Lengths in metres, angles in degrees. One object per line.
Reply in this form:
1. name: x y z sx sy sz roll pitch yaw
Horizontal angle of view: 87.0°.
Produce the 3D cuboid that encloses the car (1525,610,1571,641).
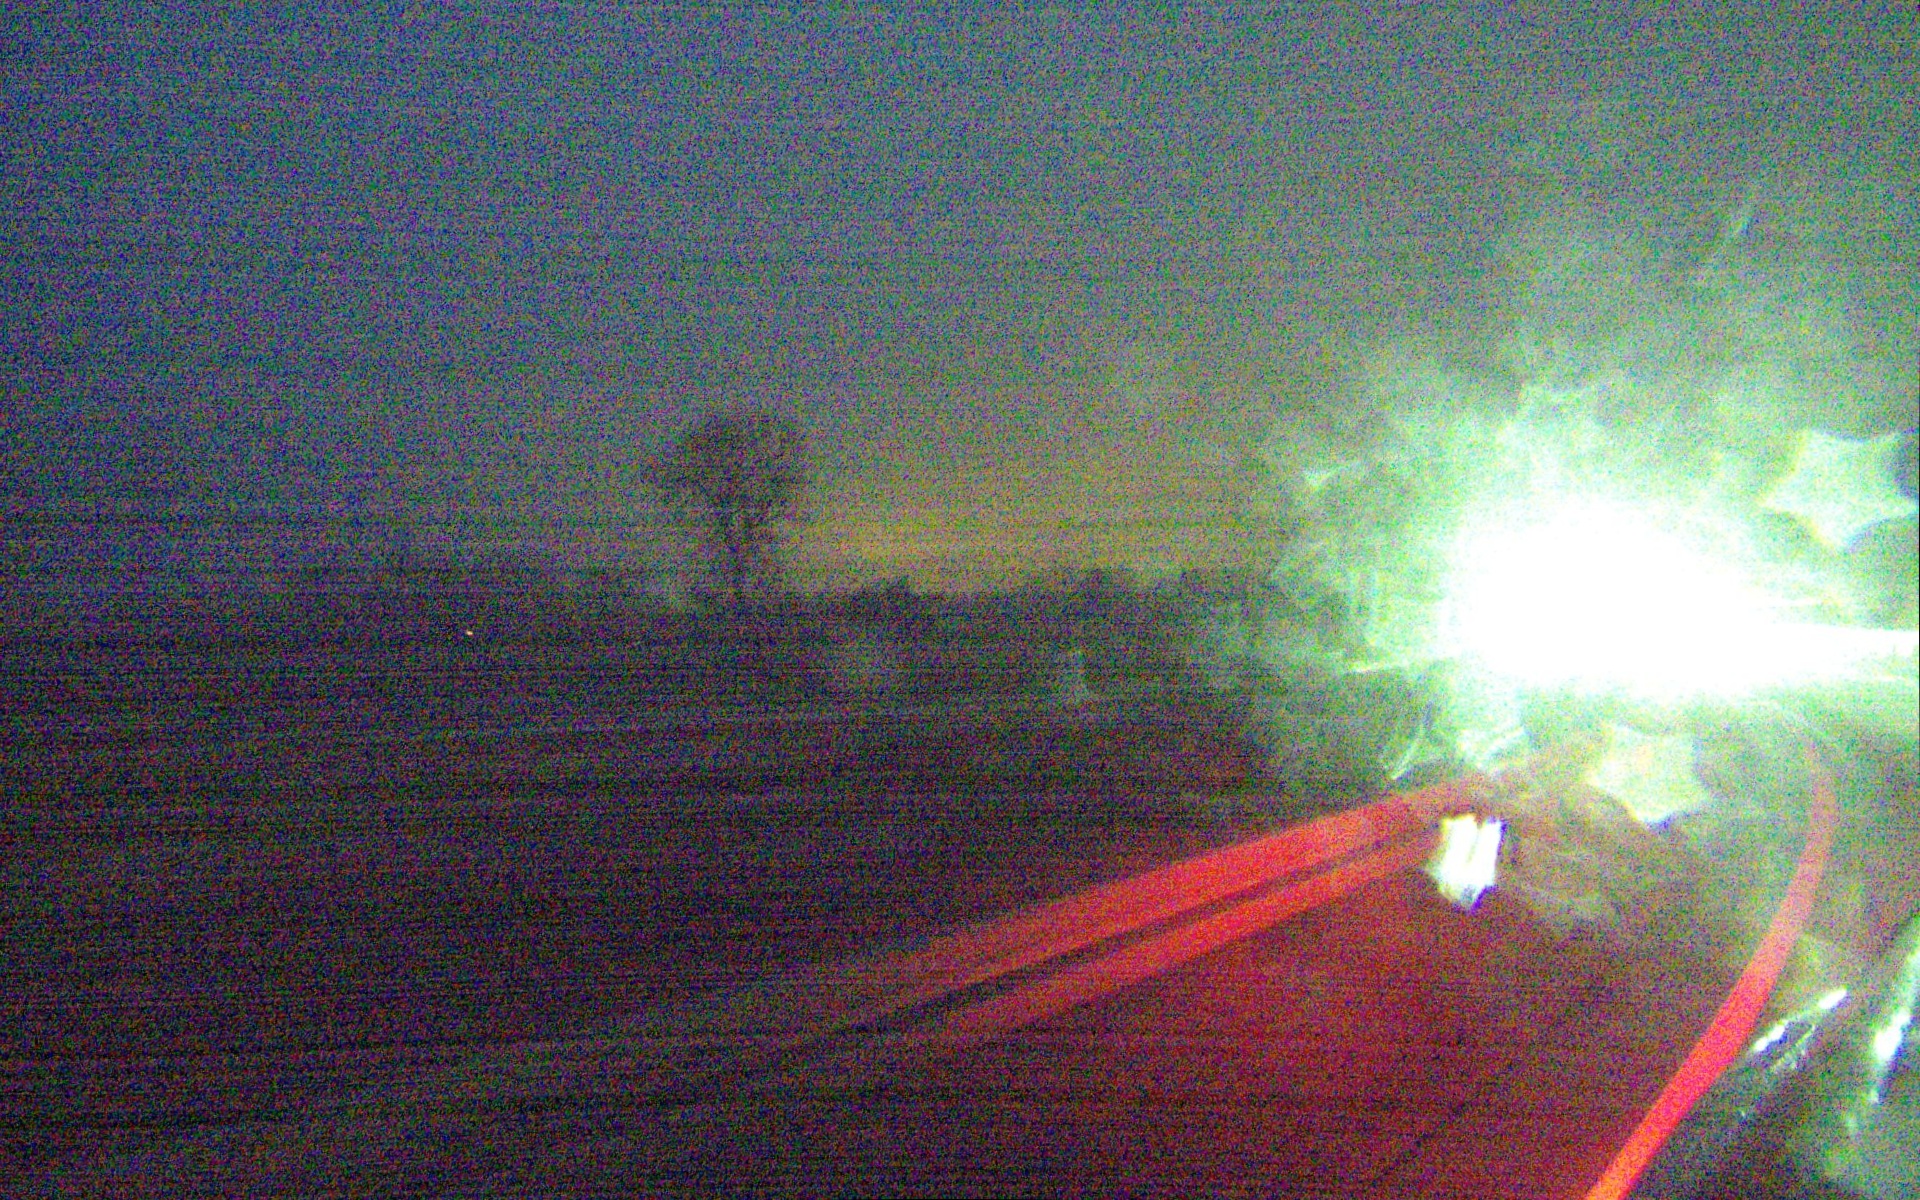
1. car: 35.867 1.547 61.852 1.979 1.770 4.064 -2 -2 25
